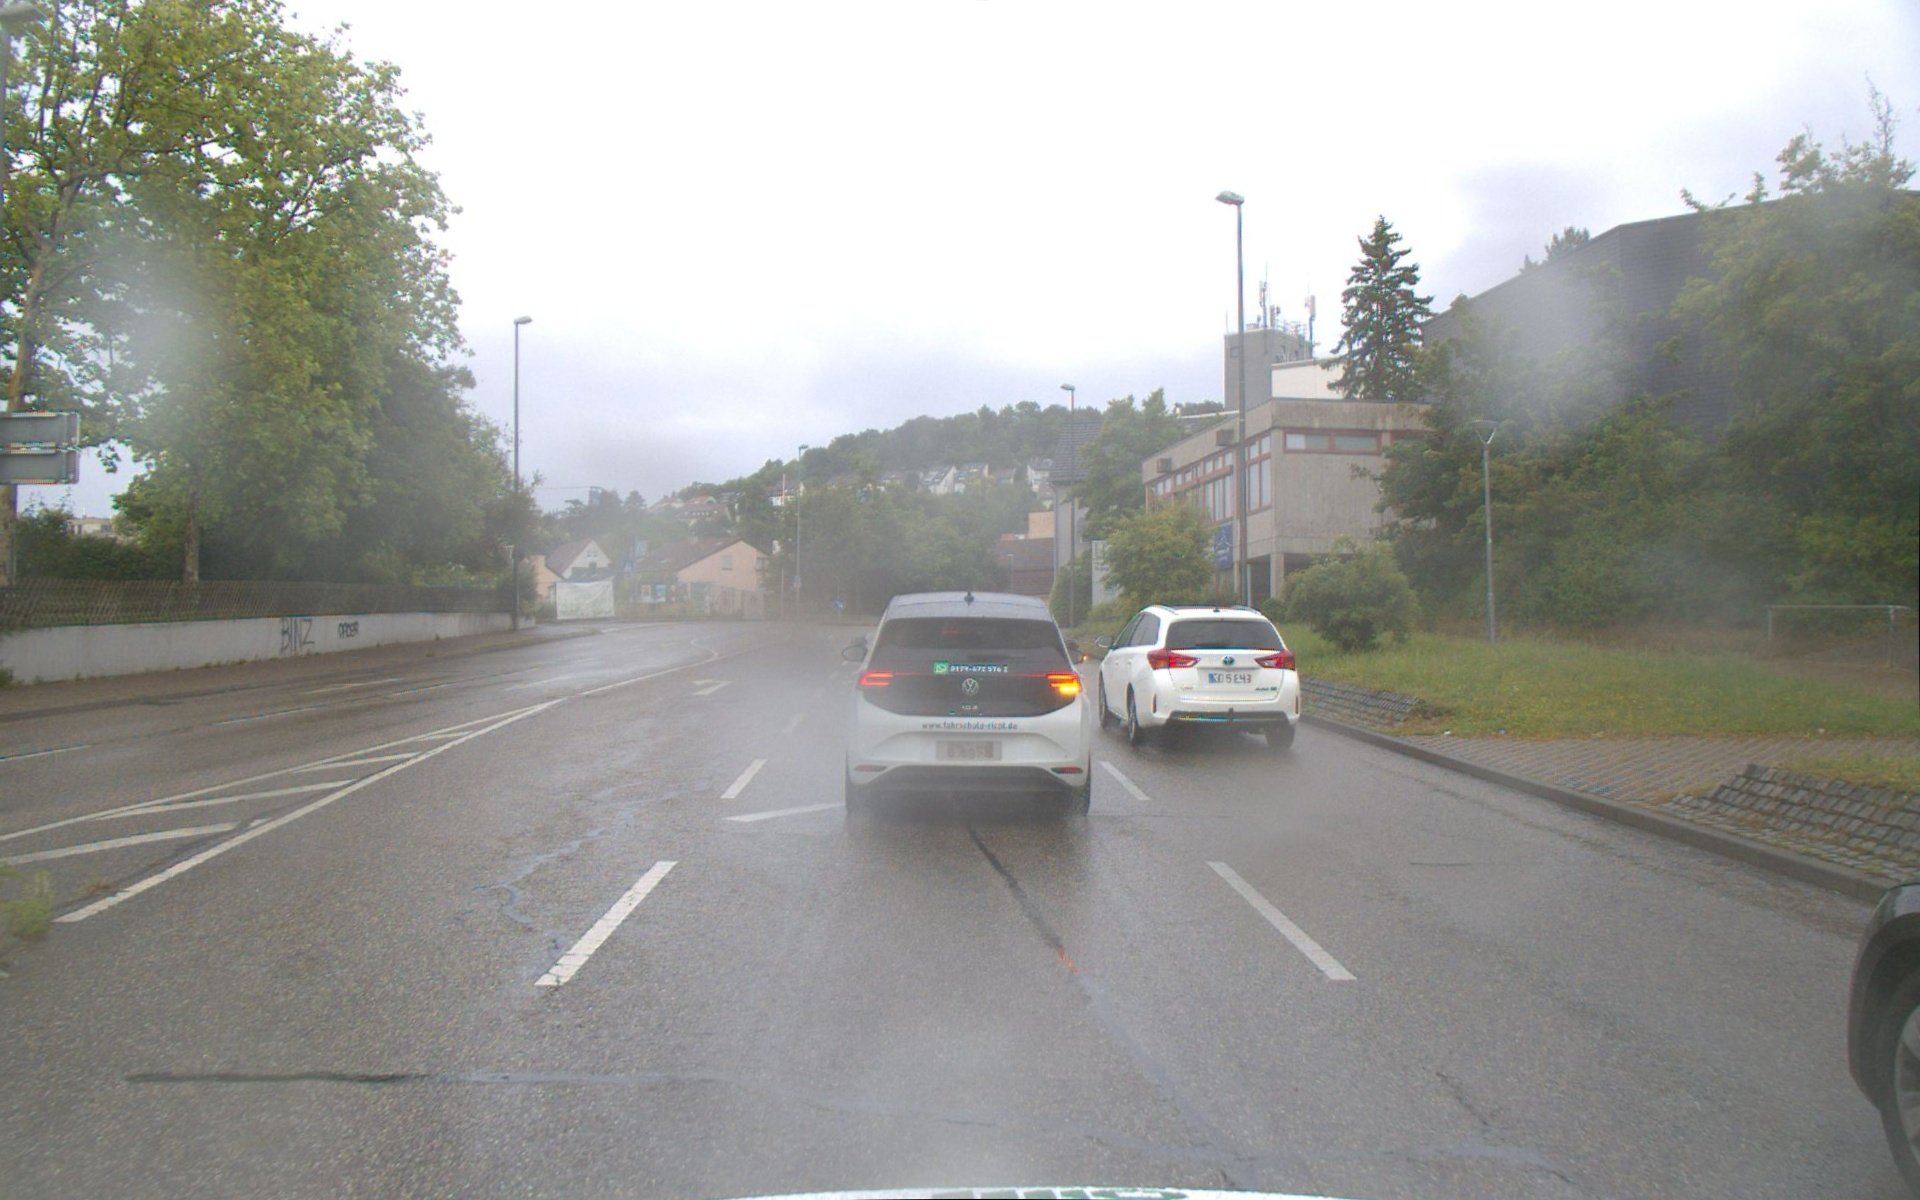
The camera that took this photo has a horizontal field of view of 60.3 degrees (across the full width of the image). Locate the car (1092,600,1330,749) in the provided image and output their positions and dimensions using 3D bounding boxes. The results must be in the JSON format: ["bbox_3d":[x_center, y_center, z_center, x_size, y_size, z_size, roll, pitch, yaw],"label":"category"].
[{"bbox_3d":[2.616,0.760,18.247,1.811,1.434,4.299,1,-1,-2],"label":"car"}]

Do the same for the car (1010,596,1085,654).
[{"bbox_3d":[2.400,0.701,46.100,1.952,1.478,3.771,-2,-1,2],"label":"car"}]

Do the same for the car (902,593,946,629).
[{"bbox_3d":[-2.161,0.688,99.774,1.951,2.049,4.003,1,-1,8],"label":"car"}]

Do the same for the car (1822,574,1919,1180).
[{"bbox_3d":[3.421,0.713,2.373,1.914,1.534,4.607,3,-1,0],"label":"car"}]

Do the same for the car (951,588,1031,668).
[{"bbox_3d":[0.596,0.554,34.317,1.535,1.557,3.999,0,0,-1],"label":"car"}]

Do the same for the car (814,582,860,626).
[{"bbox_3d":[-6.078,0.225,81.983,1.953,2.049,3.999,1,-1,0],"label":"car"}]

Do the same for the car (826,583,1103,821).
[{"bbox_3d":[0.096,0.698,12.865,1.790,1.526,4.169,1,-1,2],"label":"car"}]
